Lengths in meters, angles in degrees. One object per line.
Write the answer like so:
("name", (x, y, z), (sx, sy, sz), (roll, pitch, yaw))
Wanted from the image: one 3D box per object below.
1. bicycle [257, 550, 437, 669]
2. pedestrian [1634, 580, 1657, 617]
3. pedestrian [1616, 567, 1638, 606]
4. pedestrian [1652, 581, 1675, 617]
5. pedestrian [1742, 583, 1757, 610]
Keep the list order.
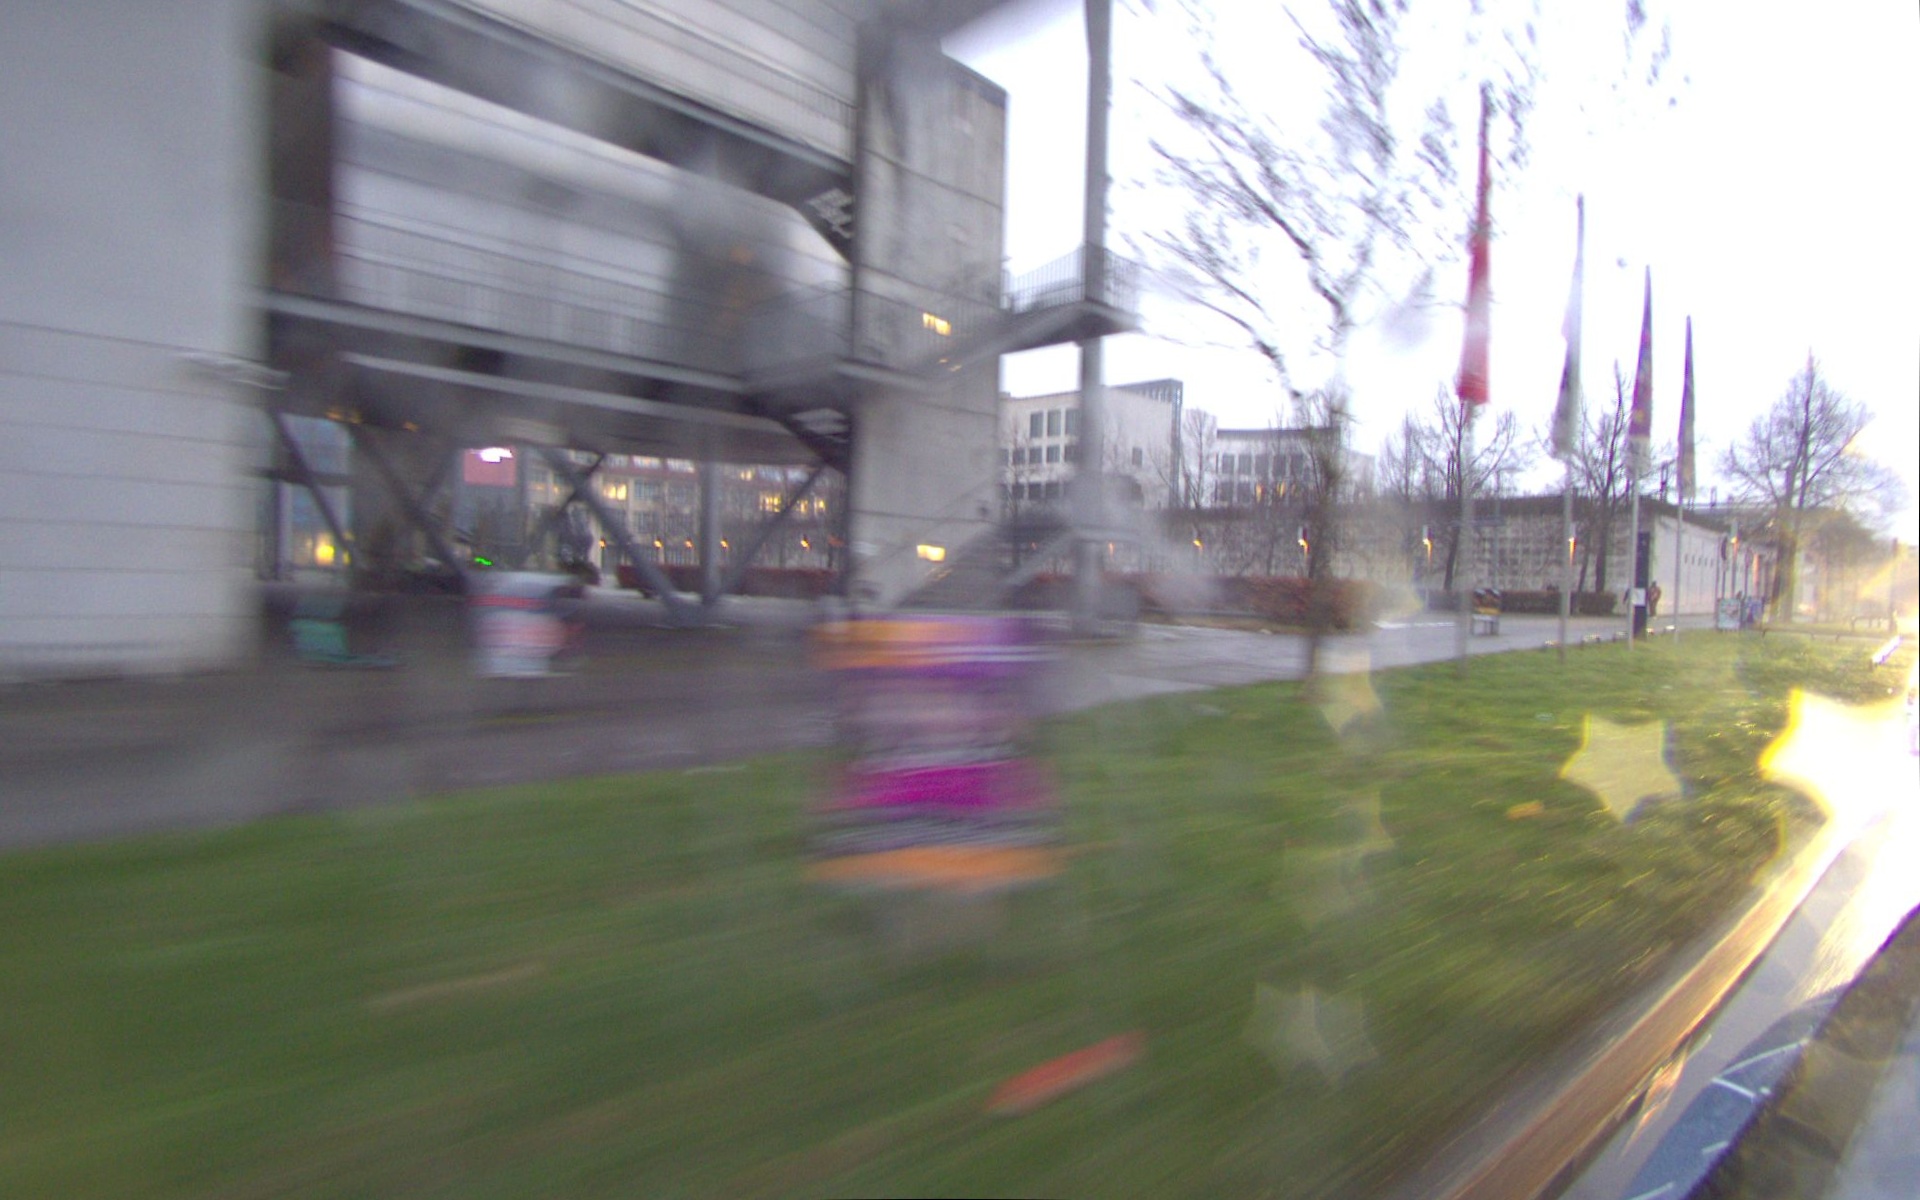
("bicycle", (-6.954, 0.097, 11.544), (1.707, 1.301, 0.412), (0, 0, -18))
("pedestrian", (30.765, -0.074, 45.409), (0.602, 1.645, 0.675), (0, 0, -30))
("pedestrian", (31.386, -0.644, 47.618), (0.602, 1.800, 0.675), (0, 0, -31))
("pedestrian", (32.397, -0.043, 46.607), (0.602, 1.632, 0.675), (0, 0, -31))
("pedestrian", (51.291, -0.251, 65.750), (0.666, 1.675, 0.980), (3, 3, 40))
